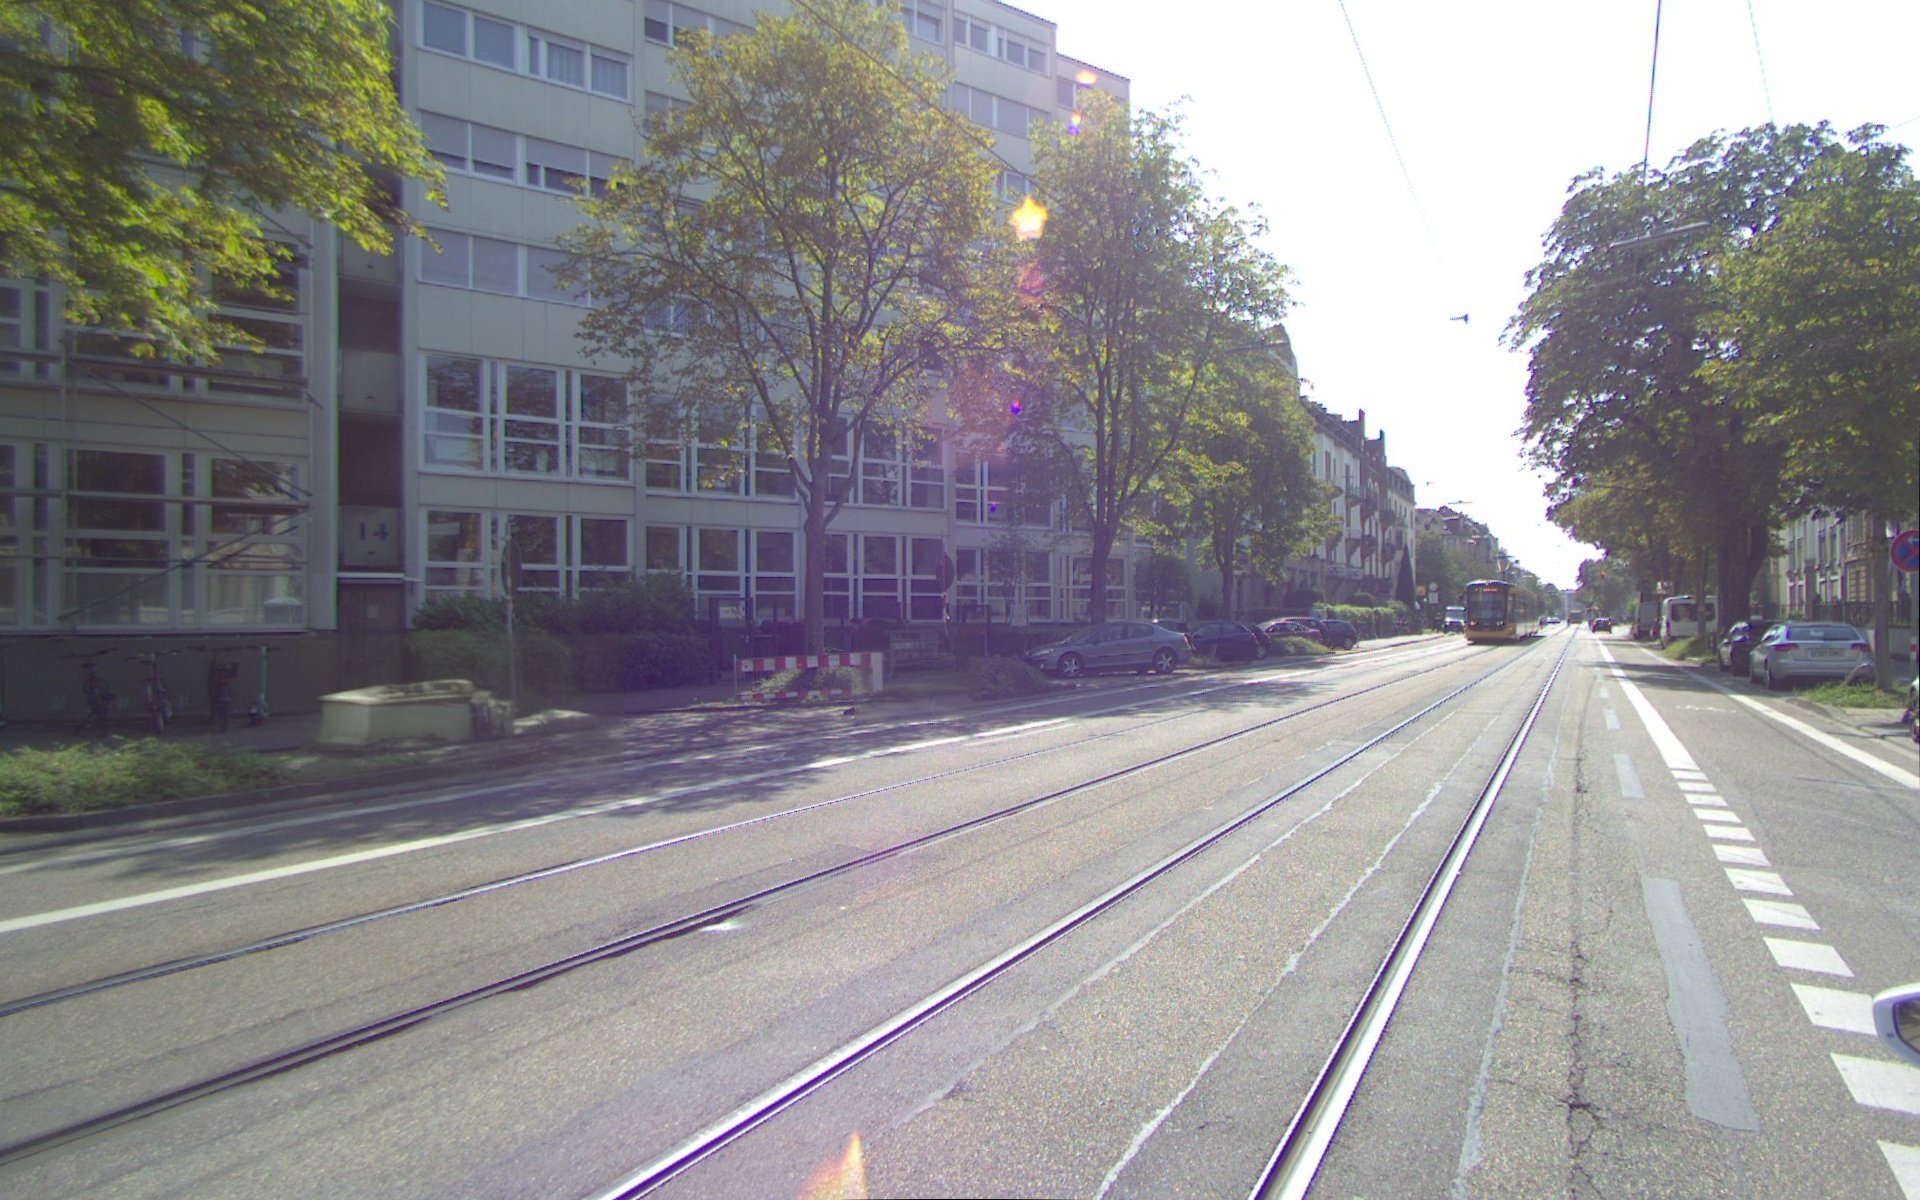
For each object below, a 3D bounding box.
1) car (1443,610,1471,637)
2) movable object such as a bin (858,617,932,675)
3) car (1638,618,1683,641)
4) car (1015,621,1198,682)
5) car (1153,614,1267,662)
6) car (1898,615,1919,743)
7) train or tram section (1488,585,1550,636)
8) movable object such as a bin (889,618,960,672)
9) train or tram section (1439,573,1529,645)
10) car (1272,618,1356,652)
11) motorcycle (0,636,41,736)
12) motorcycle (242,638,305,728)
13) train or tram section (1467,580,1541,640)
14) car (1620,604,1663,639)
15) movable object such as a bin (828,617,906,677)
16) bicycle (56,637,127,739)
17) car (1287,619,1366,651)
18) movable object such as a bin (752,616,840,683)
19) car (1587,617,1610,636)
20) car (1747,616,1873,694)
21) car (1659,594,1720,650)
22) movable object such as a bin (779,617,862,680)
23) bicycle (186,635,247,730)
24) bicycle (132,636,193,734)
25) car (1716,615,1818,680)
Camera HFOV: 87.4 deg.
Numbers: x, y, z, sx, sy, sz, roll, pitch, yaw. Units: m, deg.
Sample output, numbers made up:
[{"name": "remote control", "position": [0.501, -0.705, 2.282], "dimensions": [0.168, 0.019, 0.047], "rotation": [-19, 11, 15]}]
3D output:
[{"name": "car", "position": [47.190, 2.238, 95.260], "dimensions": [2.209, 2.473, 3.993], "rotation": [0, -1, 29]}, {"name": "movable object such as a bin", "position": [-1.851, 1.297, 28.744], "dimensions": [1.659, 1.580, 1.351], "rotation": [-1, -2, 32]}, {"name": "car", "position": [43.394, 1.798, 62.287], "dimensions": [1.964, 1.416, 3.992], "rotation": [-1, -1, 30]}, {"name": "car", "position": [3.953, 1.352, 27.256], "dimensions": [4.608, 1.471, 1.672], "rotation": [-1, -1, -14]}, {"name": "car", "position": [8.740, 1.331, 35.266], "dimensions": [3.521, 1.595, 1.674], "rotation": [1, -1, -9]}, {"name": "car", "position": [11.220, 0.866, 10.309], "dimensions": [1.768, 1.465, 3.721], "rotation": [-2, -2, 35]}, {"name": "train or tram section", "position": [44.435, 0.824, 79.645], "dimensions": [3.449, 3.753, 12.377], "rotation": [0, -1, 33]}, {"name": "movable object such as a bin", "position": [-1.050, 1.330, 29.979], "dimensions": [1.659, 1.580, 1.351], "rotation": [-1, -2, 32]}, {"name": "train or tram section", "position": [30.901, 0.546, 58.873], "dimensions": [3.449, 3.753, 12.377], "rotation": [0, -1, 33]}, {"name": "car", "position": [17.436, 1.720, 49.509], "dimensions": [3.521, 1.595, 1.674], "rotation": [1, -1, -9]}, {"name": "motorcycle", "position": [-12.751, 1.104, 13.231], "dimensions": [0.737, 1.170, 1.985], "rotation": [2, 0, -37]}, {"name": "motorcycle", "position": [-10.382, 1.213, 15.159], "dimensions": [0.689, 1.198, 1.826], "rotation": [2, 0, -37]}, {"name": "train or tram section", "position": [37.676, 0.687, 69.284], "dimensions": [3.449, 3.753, 12.377], "rotation": [0, -1, 33]}, {"name": "car", "position": [46.551, 1.467, 68.654], "dimensions": [1.963, 2.263, 3.995], "rotation": [-1, -1, 28]}, {"name": "movable object such as a bin", "position": [-2.530, 1.269, 27.334], "dimensions": [1.659, 1.580, 1.351], "rotation": [-1, -2, 32]}, {"name": "bicycle", "position": [-11.842, 1.151, 13.740], "dimensions": [0.617, 1.184, 2.319], "rotation": [2, 0, -39]}, {"name": "car", "position": [18.952, 1.790, 52.018], "dimensions": [3.521, 1.595, 1.674], "rotation": [1, -1, -9]}, {"name": "movable object such as a bin", "position": [-4.010, 1.195, 24.629], "dimensions": [1.659, 1.580, 1.351], "rotation": [-1, -2, 32]}, {"name": "car", "position": [65.754, 2.720, 103.379], "dimensions": [1.966, 1.825, 3.990], "rotation": [0, -1, 33]}, {"name": "car", "position": [18.313, 1.140, 21.788], "dimensions": [1.618, 1.531, 3.632], "rotation": [0, -1, 33]}, {"name": "car", "position": [32.857, 1.000, 45.330], "dimensions": [1.966, 2.397, 3.990], "rotation": [0, -1, 33]}, {"name": "movable object such as a bin", "position": [-3.621, 1.243, 26.084], "dimensions": [1.659, 1.580, 1.351], "rotation": [-1, -2, 32]}, {"name": "bicycle", "position": [-10.863, 1.151, 14.643], "dimensions": [0.557, 1.184, 2.318], "rotation": [2, 0, -40]}, {"name": "bicycle", "position": [-11.310, 1.155, 14.219], "dimensions": [0.617, 1.184, 2.319], "rotation": [2, 0, -39]}, {"name": "car", "position": [21.342, 1.204, 26.688], "dimensions": [1.770, 1.598, 3.988], "rotation": [-1, -1, 34]}]
